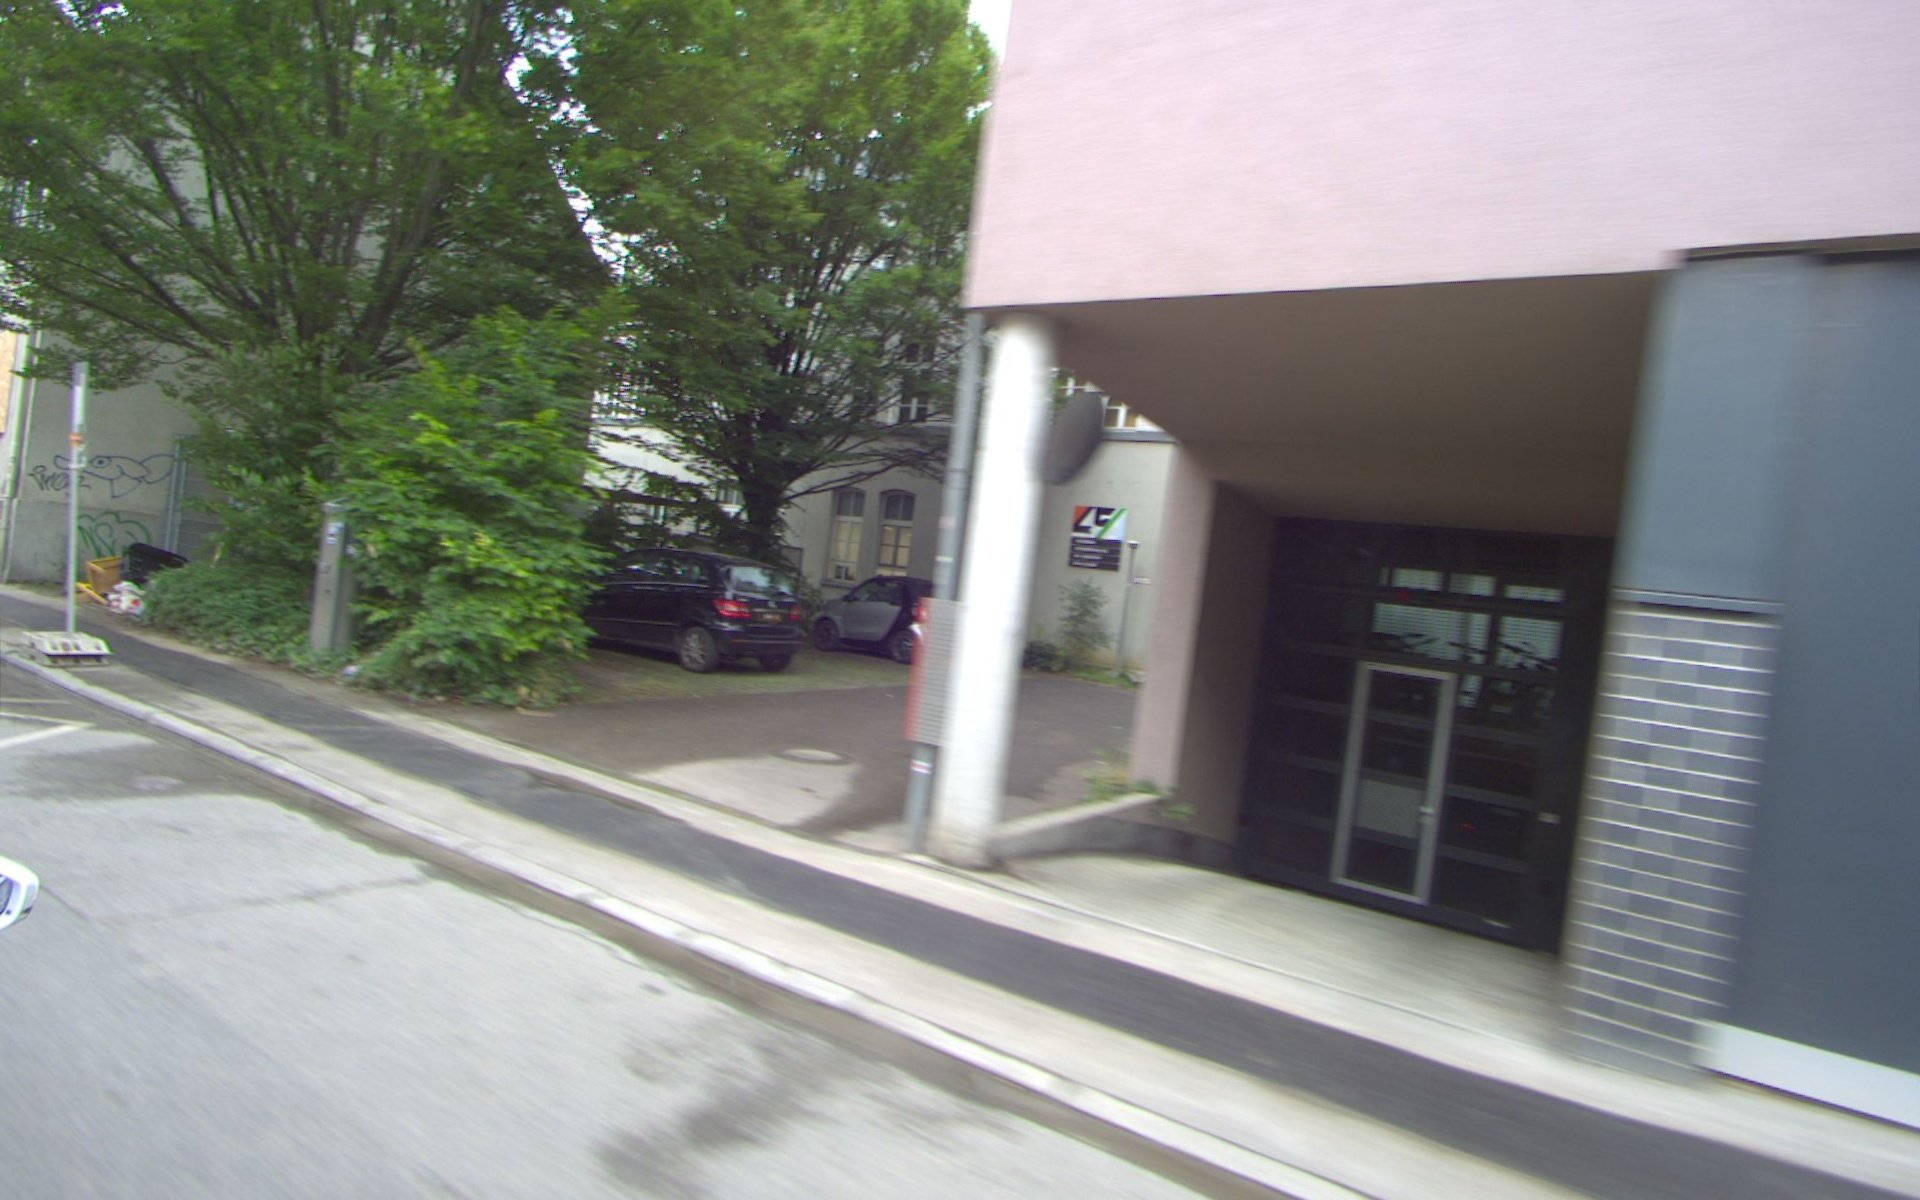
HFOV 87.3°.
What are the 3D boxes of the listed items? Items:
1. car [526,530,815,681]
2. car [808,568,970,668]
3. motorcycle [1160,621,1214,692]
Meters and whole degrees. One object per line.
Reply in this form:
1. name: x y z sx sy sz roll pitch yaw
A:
1. car: -4.268 0.033 14.701 3.930 1.606 1.637 8 3 28
2. car: -1.360 0.316 19.134 2.625 1.549 1.462 7 3 32
3. motorcycle: 4.618 1.162 20.395 0.616 1.334 1.315 7 -1 27
